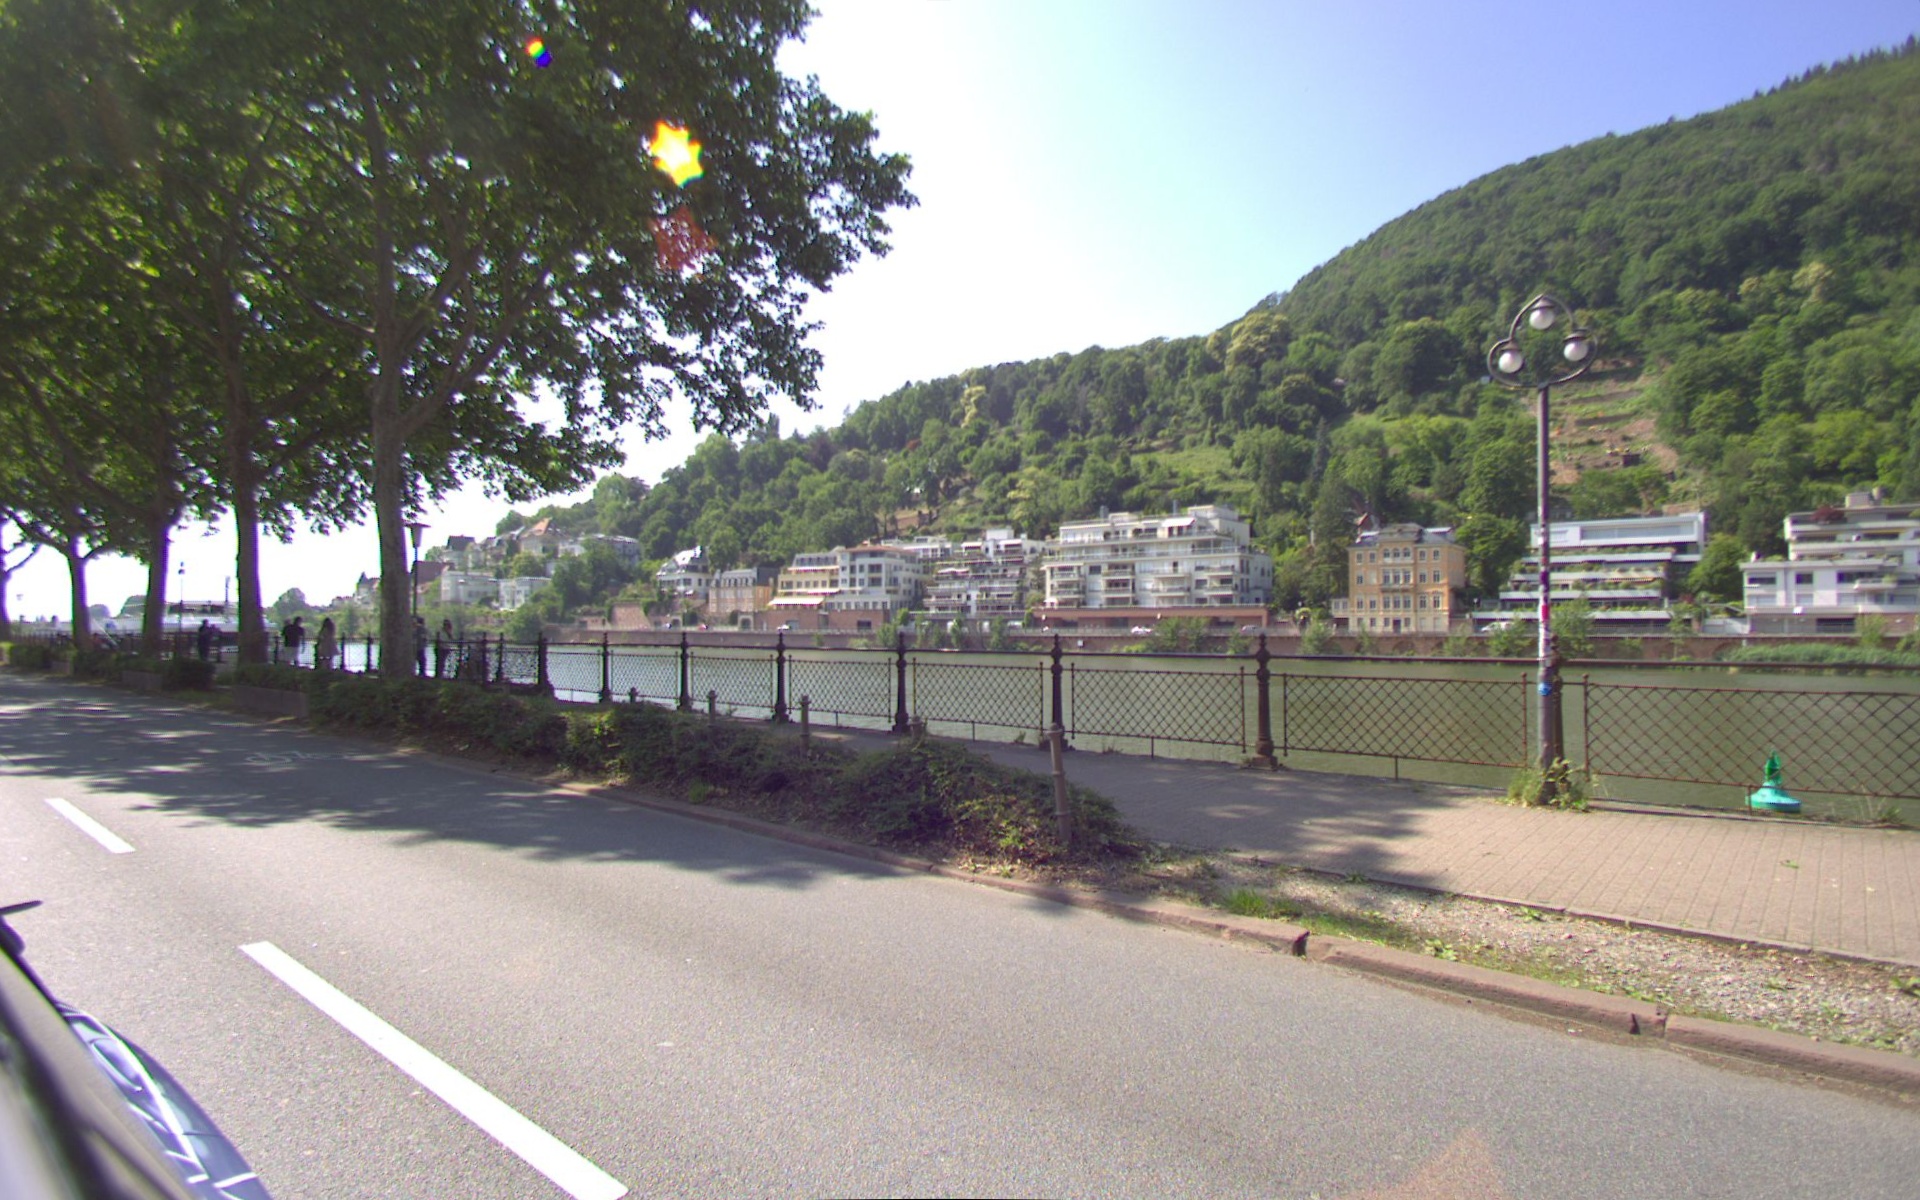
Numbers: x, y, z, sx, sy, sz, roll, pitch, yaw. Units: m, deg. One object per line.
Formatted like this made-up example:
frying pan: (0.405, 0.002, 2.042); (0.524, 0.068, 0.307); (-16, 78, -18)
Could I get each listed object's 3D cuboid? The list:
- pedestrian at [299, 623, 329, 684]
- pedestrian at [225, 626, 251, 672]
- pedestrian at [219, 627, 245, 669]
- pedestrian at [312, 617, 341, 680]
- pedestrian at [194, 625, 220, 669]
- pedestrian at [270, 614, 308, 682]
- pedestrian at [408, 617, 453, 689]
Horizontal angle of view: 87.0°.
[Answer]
pedestrian: (-18.950, 1.561, 29.693); (0.455, 1.732, 0.608); (-1, 0, 41)
pedestrian: (-29.292, 1.980, 41.067); (0.705, 1.811, 0.696); (-2, -2, 43)
pedestrian: (-28.425, 1.882, 39.519); (0.705, 1.615, 0.696); (-2, -2, 43)
pedestrian: (-18.222, 1.397, 29.103); (0.592, 1.782, 0.511); (-2, -4, 42)
pedestrian: (-29.852, 1.851, 40.110); (0.705, 1.744, 0.696); (-2, -2, 43)
pedestrian: (-19.056, 1.369, 28.734); (0.805, 1.884, 0.634); (-2, -4, 42)
pedestrian: (-13.149, 1.310, 25.116); (0.873, 1.730, 0.686); (-1, 0, 40)
